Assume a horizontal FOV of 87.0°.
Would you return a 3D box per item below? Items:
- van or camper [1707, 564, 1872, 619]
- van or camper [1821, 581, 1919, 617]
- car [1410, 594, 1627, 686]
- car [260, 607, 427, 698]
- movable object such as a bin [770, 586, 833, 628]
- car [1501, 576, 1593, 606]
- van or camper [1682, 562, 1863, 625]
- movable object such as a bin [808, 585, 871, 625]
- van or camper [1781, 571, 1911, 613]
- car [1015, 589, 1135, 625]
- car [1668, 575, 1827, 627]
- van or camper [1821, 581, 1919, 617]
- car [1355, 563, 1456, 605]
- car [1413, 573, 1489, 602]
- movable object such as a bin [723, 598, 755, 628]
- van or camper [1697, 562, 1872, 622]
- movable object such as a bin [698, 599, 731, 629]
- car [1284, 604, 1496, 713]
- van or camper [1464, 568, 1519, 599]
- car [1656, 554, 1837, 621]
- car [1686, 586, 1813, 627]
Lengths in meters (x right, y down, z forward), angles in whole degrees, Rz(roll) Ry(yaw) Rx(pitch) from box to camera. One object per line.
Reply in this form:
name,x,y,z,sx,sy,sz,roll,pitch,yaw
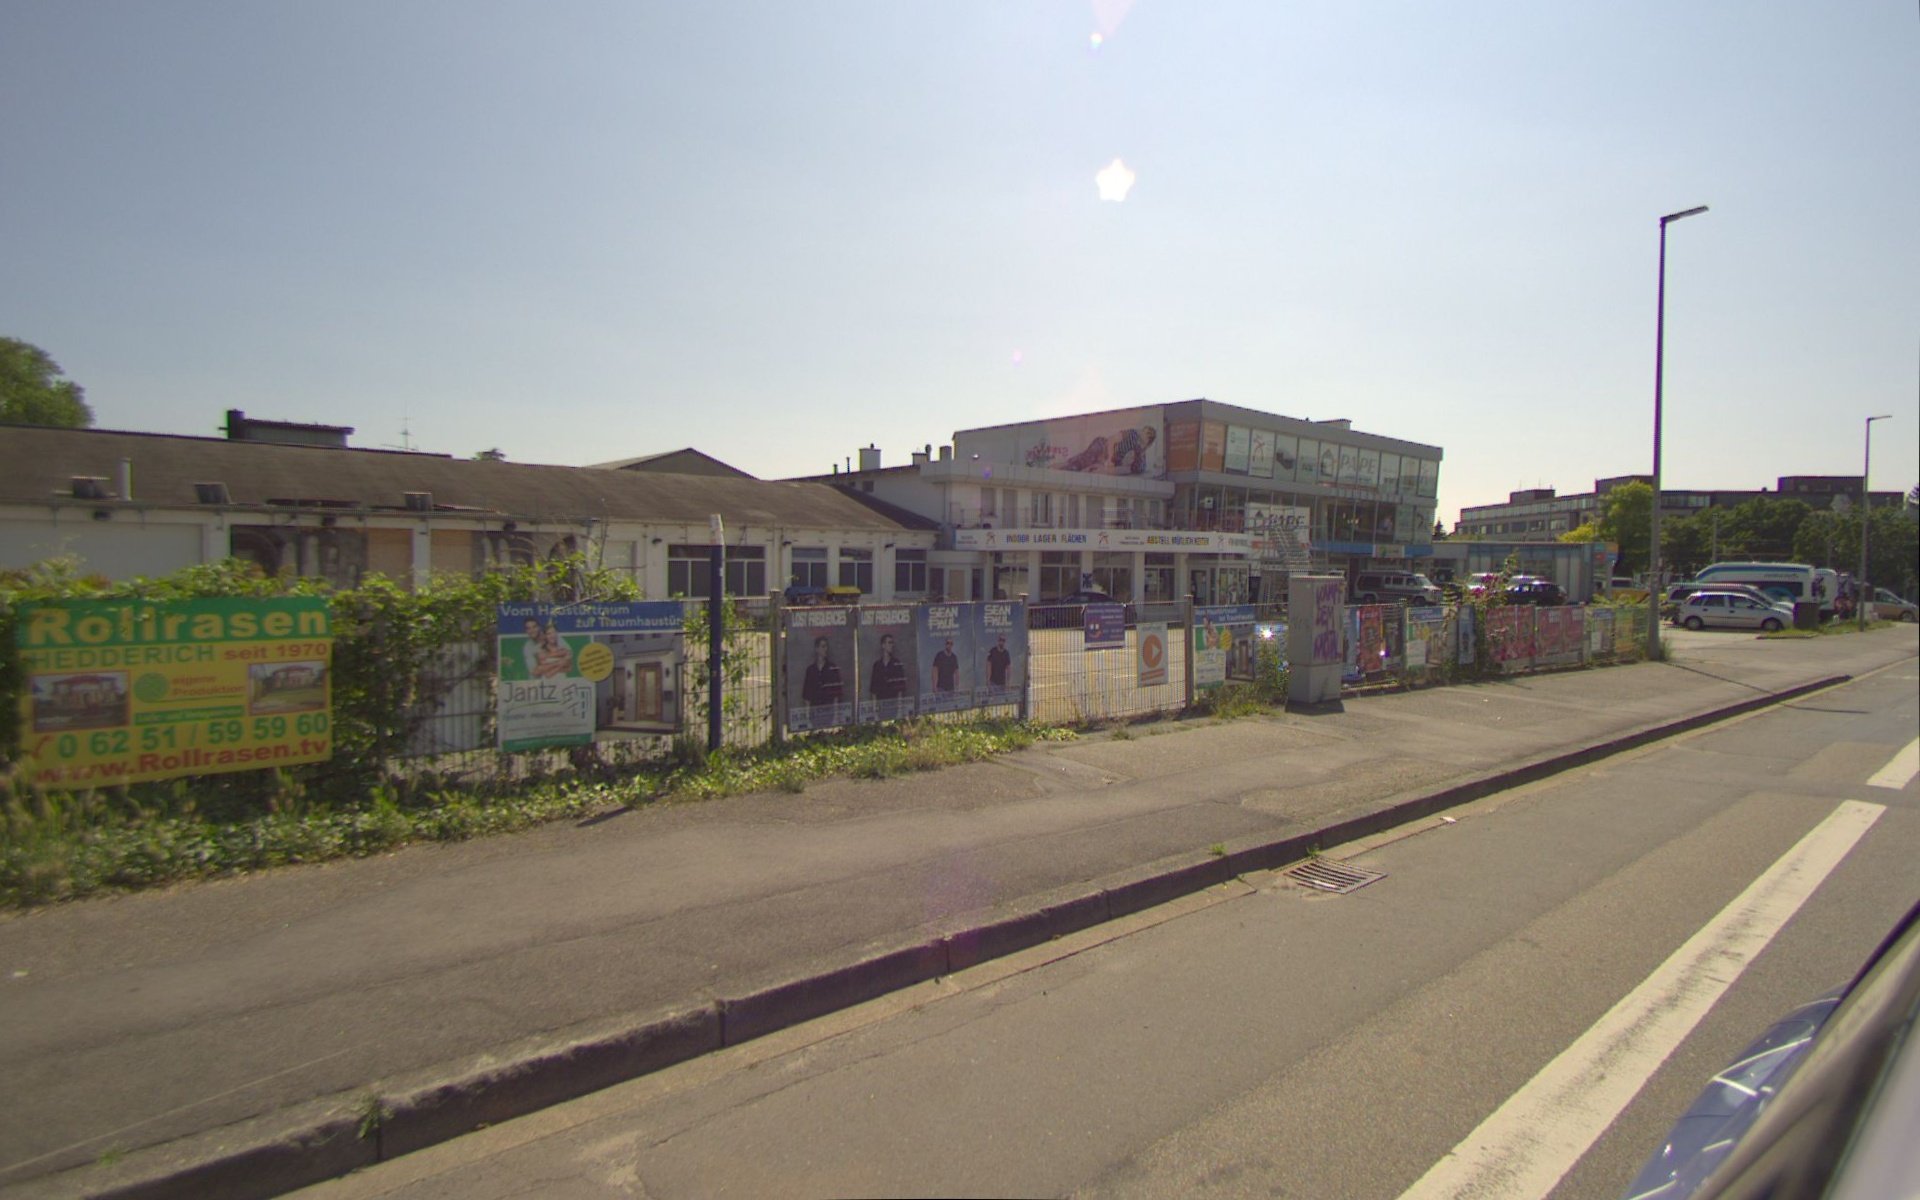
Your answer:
van or camper,42.570,-0.497,52.063,2.573,2.556,6.207,0,2,-41
van or camper,59.009,-0.079,65.147,4.917,2.070,2.031,2,2,19
car,12.233,0.775,22.670,1.986,1.641,5.047,-4,1,1
car,-11.812,0.892,19.242,2.082,1.415,4.337,0,1,-40
movable object such as a bin,-5.860,0.245,37.396,1.570,1.474,1.727,1,1,44
car,36.370,-0.597,62.763,1.968,1.699,4.540,0,2,-45
van or camper,38.678,-0.380,48.357,2.665,2.733,6.361,0,2,-41
movable object such as a bin,-4.611,0.169,38.699,1.570,1.474,1.796,1,1,44
van or camper,61.551,-0.586,70.452,6.267,2.669,2.524,2,1,13
car,4.455,0.261,39.271,4.477,1.306,1.891,-1,0,7
car,34.598,-0.005,44.595,1.966,1.976,5.244,0,3,-42
van or camper,57.177,-0.074,62.932,5.070,1.985,1.976,3,3,19
car,27.764,-1.008,63.193,2.286,2.449,5.306,0,2,-41
car,32.343,-0.823,66.715,1.968,1.754,4.108,0,2,-45
movable object such as a bin,-7.908,0.452,36.198,0.746,1.049,0.862,1,1,44
van or camper,40.758,-0.468,50.176,2.665,2.750,6.361,0,2,-41
movable object such as a bin,-8.633,0.486,35.545,0.746,1.004,0.862,1,1,44
car,7.461,0.942,18.011,1.855,1.637,3.834,1,1,-5
van or camper,36.763,-1.126,69.897,2.117,2.038,5.036,2,2,42
car,36.135,-0.647,46.699,2.280,2.905,6.240,0,2,-41
car,32.906,0.263,42.261,1.767,1.613,3.927,0,0,-42
